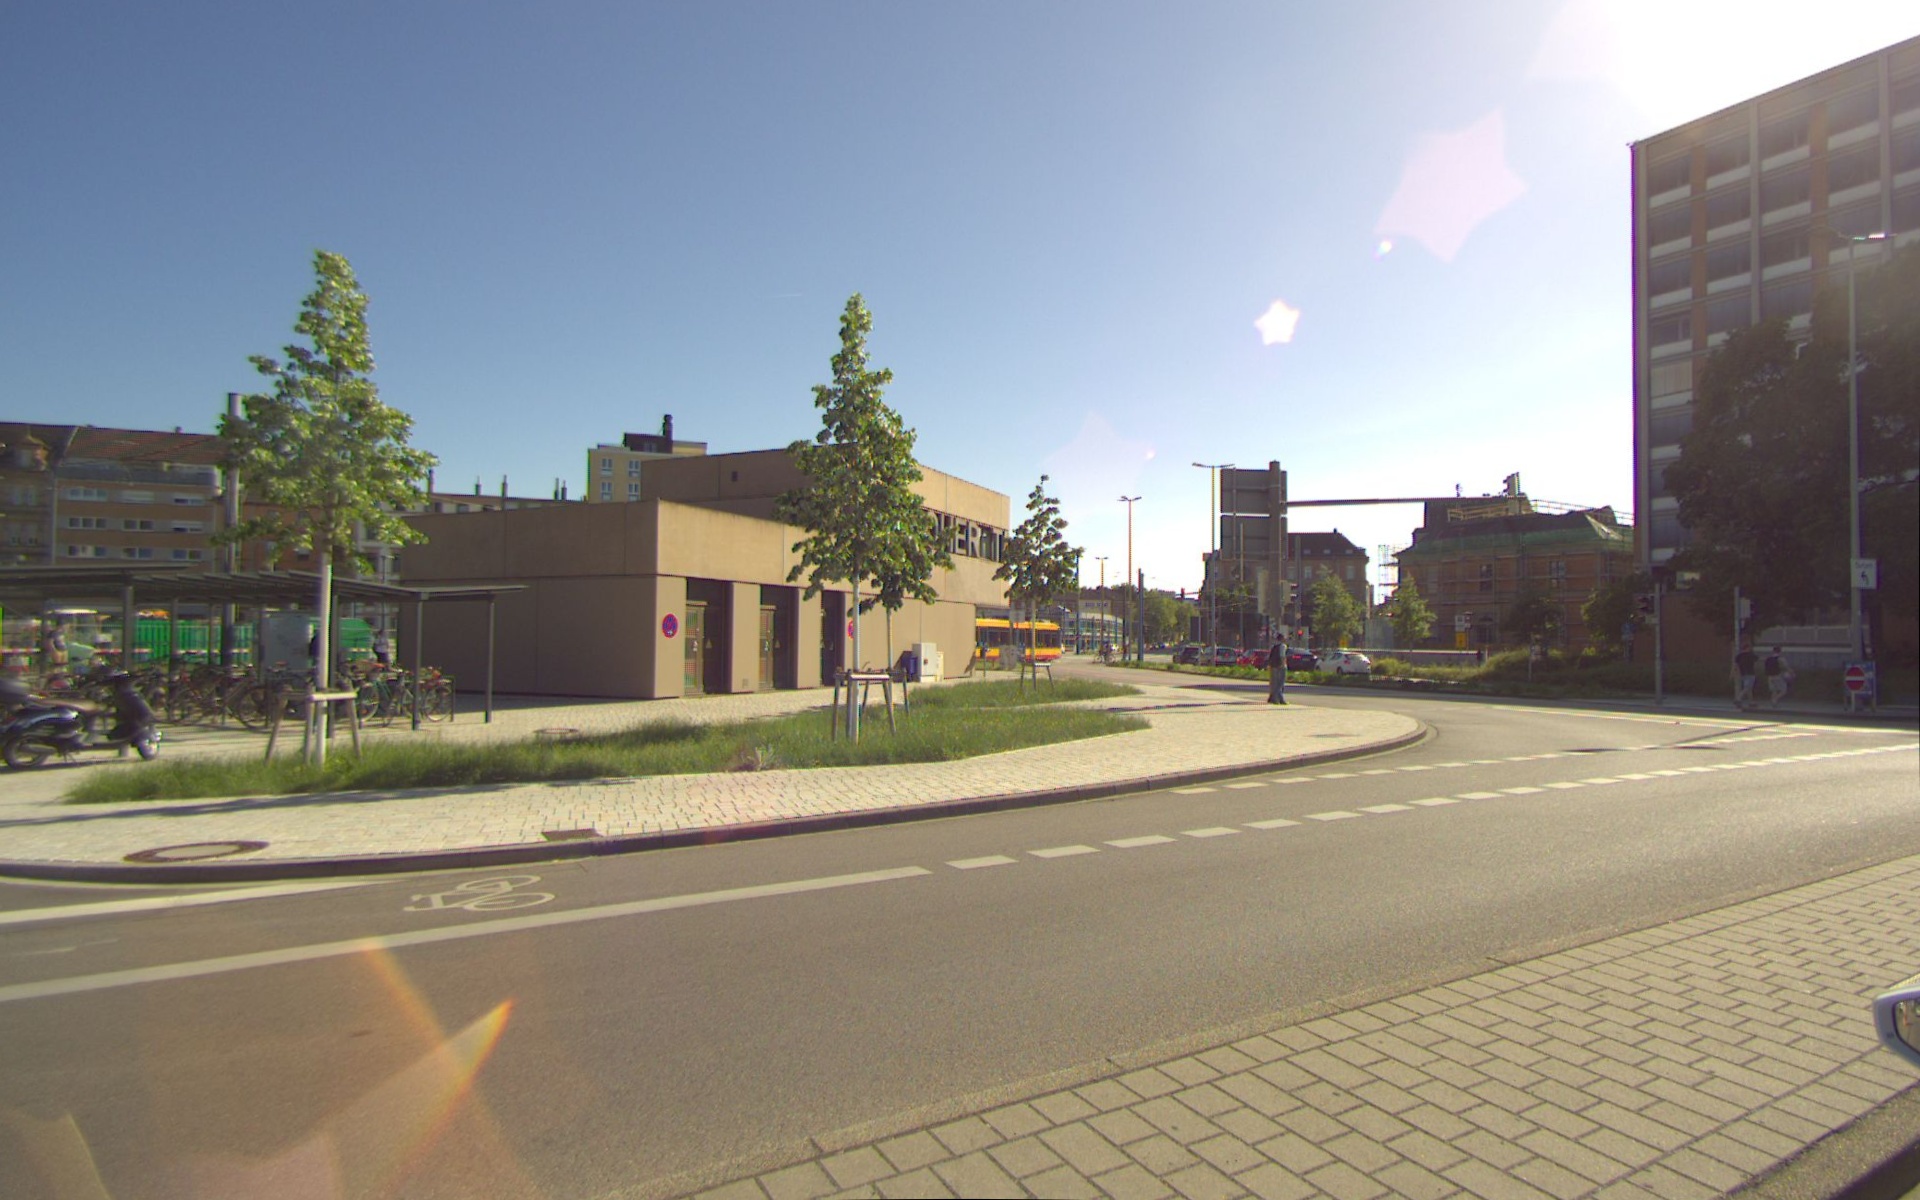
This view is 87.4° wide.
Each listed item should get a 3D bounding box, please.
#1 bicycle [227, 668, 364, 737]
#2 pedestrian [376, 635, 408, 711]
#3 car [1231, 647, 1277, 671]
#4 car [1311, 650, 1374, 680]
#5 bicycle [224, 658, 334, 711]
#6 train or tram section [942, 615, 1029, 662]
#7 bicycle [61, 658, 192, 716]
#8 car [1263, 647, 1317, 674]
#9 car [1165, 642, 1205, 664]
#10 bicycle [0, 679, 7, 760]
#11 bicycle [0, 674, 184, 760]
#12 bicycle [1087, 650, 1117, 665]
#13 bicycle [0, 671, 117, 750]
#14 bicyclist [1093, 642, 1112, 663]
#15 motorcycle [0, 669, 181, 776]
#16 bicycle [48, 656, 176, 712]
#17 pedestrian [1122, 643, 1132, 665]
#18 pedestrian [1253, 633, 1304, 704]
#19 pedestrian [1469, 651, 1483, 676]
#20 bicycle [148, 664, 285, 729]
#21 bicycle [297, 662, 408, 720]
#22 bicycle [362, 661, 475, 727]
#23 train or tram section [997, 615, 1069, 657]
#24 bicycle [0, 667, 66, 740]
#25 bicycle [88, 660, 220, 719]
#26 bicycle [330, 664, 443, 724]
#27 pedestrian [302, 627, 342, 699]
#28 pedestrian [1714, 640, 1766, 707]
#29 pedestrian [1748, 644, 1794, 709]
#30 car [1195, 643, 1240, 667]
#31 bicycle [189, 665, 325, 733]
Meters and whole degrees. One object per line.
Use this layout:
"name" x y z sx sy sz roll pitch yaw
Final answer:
"bicycle" -10.909 1.660 16.569 0.449 1.022 1.902 0 -2 26
"pedestrian" -15.591 2.005 27.574 0.710 2.040 0.682 2 -3 -30
"car" 20.213 4.028 69.248 1.760 1.528 3.880 1 -2 -6
"car" 21.255 3.590 55.931 1.760 1.528 3.880 1 -2 -6
"bicycle" -14.071 1.726 20.827 0.449 1.022 1.902 0 -2 26
"train or tram section" 2.110 2.804 75.936 2.649 3.275 10.595 2 0 24
"bicycle" -15.916 1.641 19.239 0.449 1.022 1.902 0 -2 26
"car" 20.582 3.763 62.787 1.760 1.528 3.880 1 -2 -6
"car" 16.784 3.925 74.995 1.760 1.528 3.880 1 -2 -6
"bicycle" -12.744 1.483 12.002 0.449 1.022 1.902 0 -2 26
"bicycle" -11.814 1.554 13.722 0.449 1.022 1.902 0 -2 26
"bicycle" 11.992 4.866 84.879 2.370 1.076 0.811 2 0 12
"bicycle" -13.028 1.535 14.013 0.449 1.022 1.902 0 -2 26
"bicyclist" 12.031 4.453 84.891 1.544 1.655 0.811 2 0 11
"motorcycle" -10.919 1.473 12.469 0.508 1.166 1.947 0 -2 25
"bicycle" -16.699 1.636 19.837 0.449 1.022 1.902 0 -2 26
"pedestrian" 13.764 4.400 82.621 0.761 1.786 0.706 0 -2 7
"pedestrian" 8.083 1.725 25.488 1.044 1.753 0.652 1 -2 -16
"pedestrian" 36.501 4.483 71.035 0.754 1.753 0.675 2 -2 -39
"bicycle" -12.897 1.646 17.488 0.449 1.022 1.902 0 -2 26
"bicycle" -11.796 1.741 19.575 0.449 1.022 1.902 0 -2 26
"bicycle" -9.926 1.694 18.489 0.449 1.112 1.902 0 -2 26
"train or tram section" 6.362 2.980 85.637 2.649 3.275 10.595 2 0 24
"bicycle" -14.158 1.506 14.445 0.449 1.022 1.902 0 -2 26
"bicycle" -15.080 1.654 18.863 0.449 1.022 1.902 0 -2 26
"bicycle" -10.706 1.732 18.818 0.449 1.022 1.902 0 -2 26
"pedestrian" -16.927 1.656 26.664 0.555 1.858 0.683 0 -2 27
"pedestrian" 22.312 2.094 28.747 0.895 1.887 0.813 1 -2 -16
"pedestrian" 22.500 2.115 27.859 0.748 1.753 0.680 1 -2 -16
"car" 17.465 3.689 68.268 1.760 1.528 3.880 1 -2 -6
"bicycle" -11.888 1.650 17.058 0.449 1.022 1.902 0 -2 26
